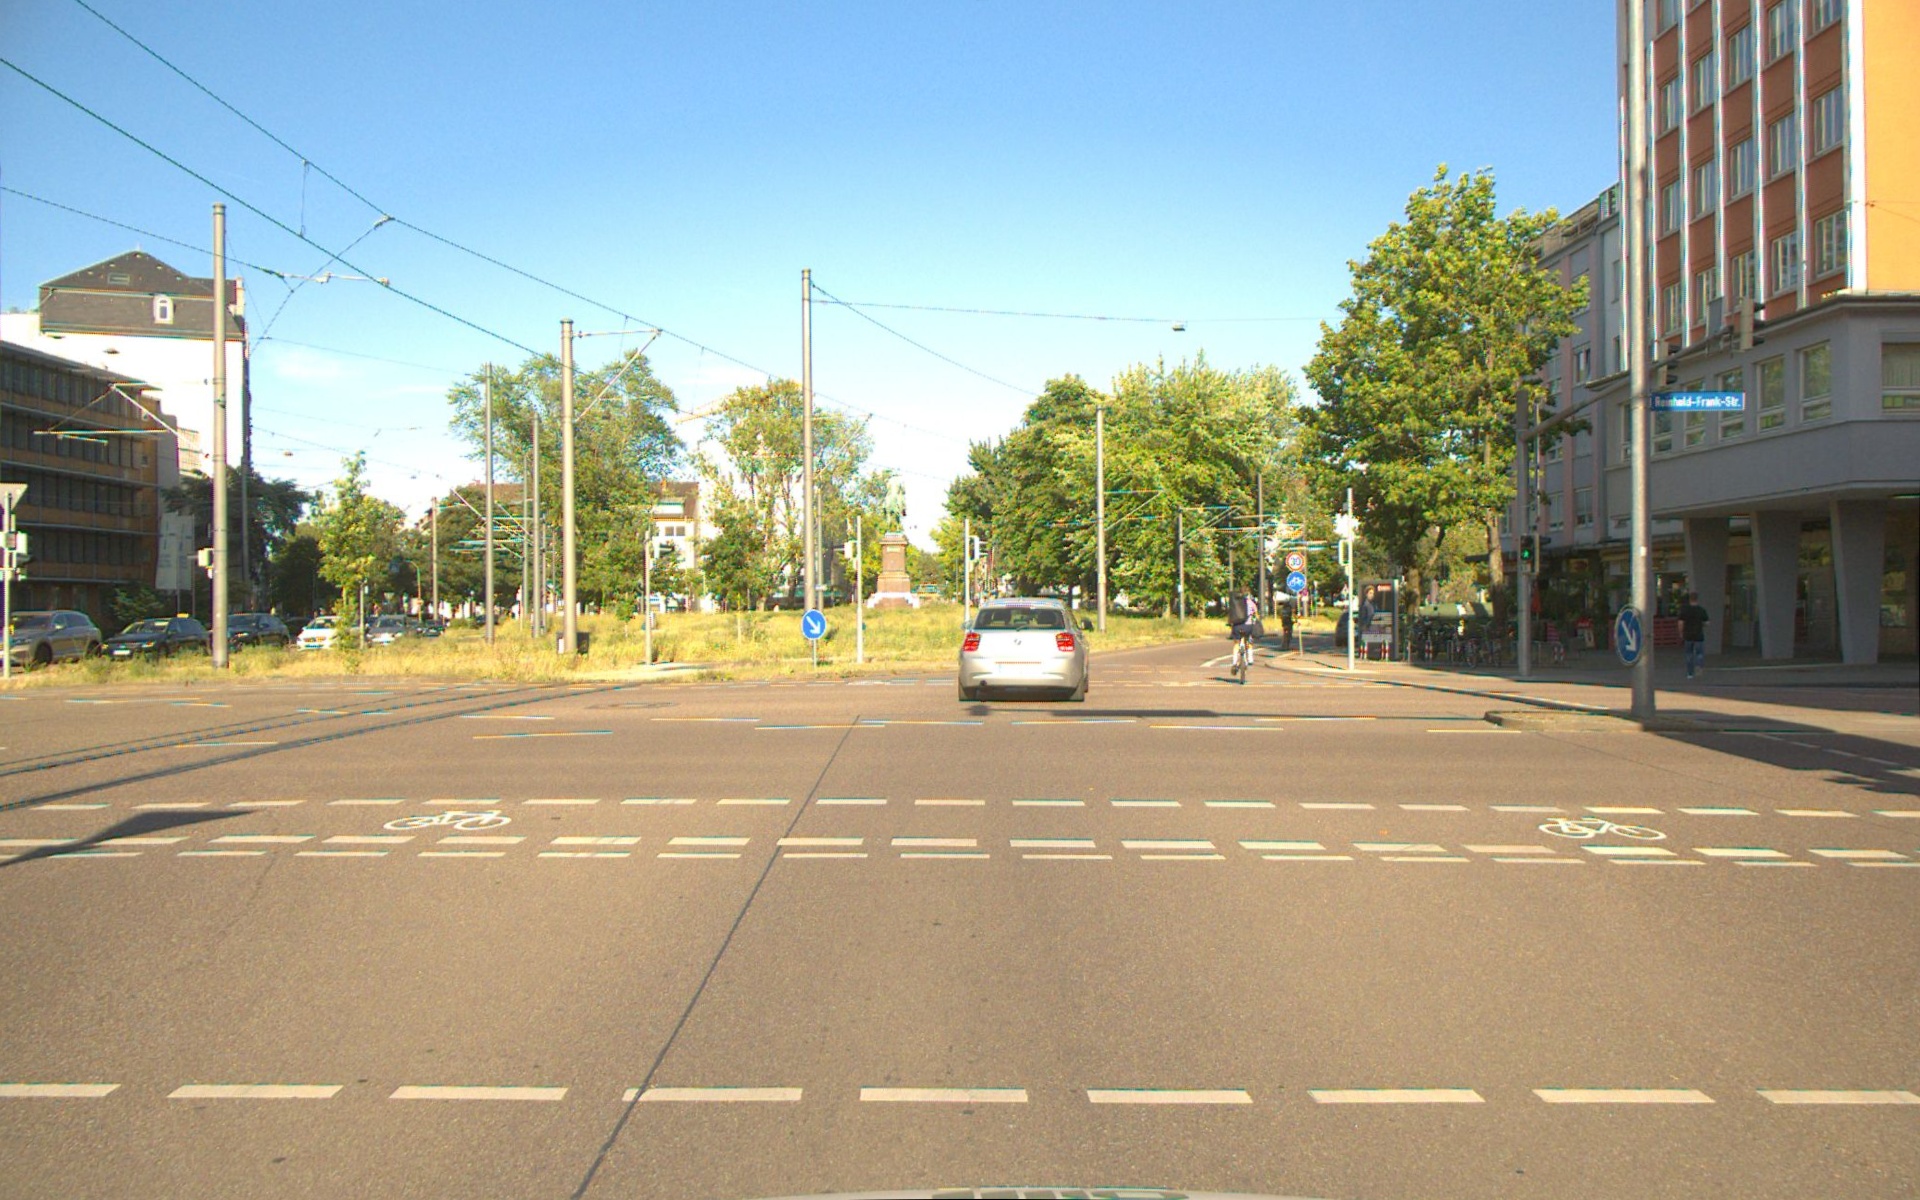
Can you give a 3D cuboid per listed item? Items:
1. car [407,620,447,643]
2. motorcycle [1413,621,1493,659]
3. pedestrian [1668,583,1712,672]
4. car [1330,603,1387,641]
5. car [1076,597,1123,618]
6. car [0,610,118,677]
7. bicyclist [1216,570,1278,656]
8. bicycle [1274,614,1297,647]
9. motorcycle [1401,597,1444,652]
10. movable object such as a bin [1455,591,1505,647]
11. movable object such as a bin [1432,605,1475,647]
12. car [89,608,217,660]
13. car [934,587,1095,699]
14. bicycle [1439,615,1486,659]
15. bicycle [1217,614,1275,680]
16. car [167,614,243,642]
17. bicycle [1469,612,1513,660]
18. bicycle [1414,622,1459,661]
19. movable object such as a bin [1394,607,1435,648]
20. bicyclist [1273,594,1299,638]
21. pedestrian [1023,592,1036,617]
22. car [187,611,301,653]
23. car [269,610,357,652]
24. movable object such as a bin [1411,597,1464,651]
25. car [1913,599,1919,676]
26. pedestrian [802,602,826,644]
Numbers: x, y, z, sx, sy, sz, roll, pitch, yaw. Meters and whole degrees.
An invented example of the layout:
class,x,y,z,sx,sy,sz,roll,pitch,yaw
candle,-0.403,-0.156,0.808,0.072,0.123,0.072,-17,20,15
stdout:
class,x,y,z,sx,sy,sz,roll,pitch,yaw
car,-40.449,2.395,125.656,1.955,1.540,4.276,0,-3,-5
motorcycle,14.119,1.150,47.429,2.053,1.039,0.762,1,0,0
pedestrian,15.733,0.590,35.669,0.809,1.877,0.891,1,-1,21
car,16.493,0.901,68.375,1.729,1.463,4.584,-1,0,21
car,16.063,0.863,190.698,5.227,2.354,2.000,1,-1,0
car,-26.029,1.176,46.721,2.058,1.764,5.083,0,0,-3
bicyclist,5.245,0.238,30.149,1.016,1.510,0.989,1,-1,14
bicycle,12.443,1.173,63.213,0.802,1.206,1.966,1,-1,13
motorcycle,13.817,0.713,49.449,0.785,1.566,2.547,1,0,5
movable object such as a bin,16.269,0.605,51.777,1.230,1.739,0.945,-1,-1,-2
movable object such as a bin,17.127,0.897,57.425,1.188,1.415,0.959,1,-1,0
car,-26.057,1.082,53.578,1.953,1.544,4.660,1,-1,-2
car,0.888,0.599,23.980,1.951,1.448,4.199,1,-1,7
bicycle,13.443,0.986,44.308,0.466,1.136,2.118,1,-1,-4
bicycle,5.240,0.844,30.205,0.867,1.156,2.230,1,-1,14
car,-45.290,1.668,99.181,3.946,1.609,1.979,2,-1,-31
bicycle,14.387,0.956,44.819,0.521,1.266,1.846,1,-1,-2
bicycle,12.747,1.099,44.290,0.466,1.002,2.118,1,-1,-4
movable object such as a bin,15.752,0.948,57.343,1.148,1.380,0.927,1,-1,0
bicyclist,12.470,0.617,63.315,0.919,1.662,0.936,1,-1,13
pedestrian,4.731,0.316,112.646,0.665,1.644,0.550,2,-1,-29
car,-26.643,1.177,61.750,1.952,1.473,5.020,1,-1,2
car,-26.808,1.265,68.687,1.954,1.624,4.653,1,-1,-3
movable object such as a bin,14.965,0.743,51.827,1.352,1.668,1.008,0,-1,-2
car,21.270,0.767,32.499,4.067,1.529,1.844,1,-2,-3
pedestrian,-6.027,0.951,68.273,0.719,1.700,0.744,0,0,24
